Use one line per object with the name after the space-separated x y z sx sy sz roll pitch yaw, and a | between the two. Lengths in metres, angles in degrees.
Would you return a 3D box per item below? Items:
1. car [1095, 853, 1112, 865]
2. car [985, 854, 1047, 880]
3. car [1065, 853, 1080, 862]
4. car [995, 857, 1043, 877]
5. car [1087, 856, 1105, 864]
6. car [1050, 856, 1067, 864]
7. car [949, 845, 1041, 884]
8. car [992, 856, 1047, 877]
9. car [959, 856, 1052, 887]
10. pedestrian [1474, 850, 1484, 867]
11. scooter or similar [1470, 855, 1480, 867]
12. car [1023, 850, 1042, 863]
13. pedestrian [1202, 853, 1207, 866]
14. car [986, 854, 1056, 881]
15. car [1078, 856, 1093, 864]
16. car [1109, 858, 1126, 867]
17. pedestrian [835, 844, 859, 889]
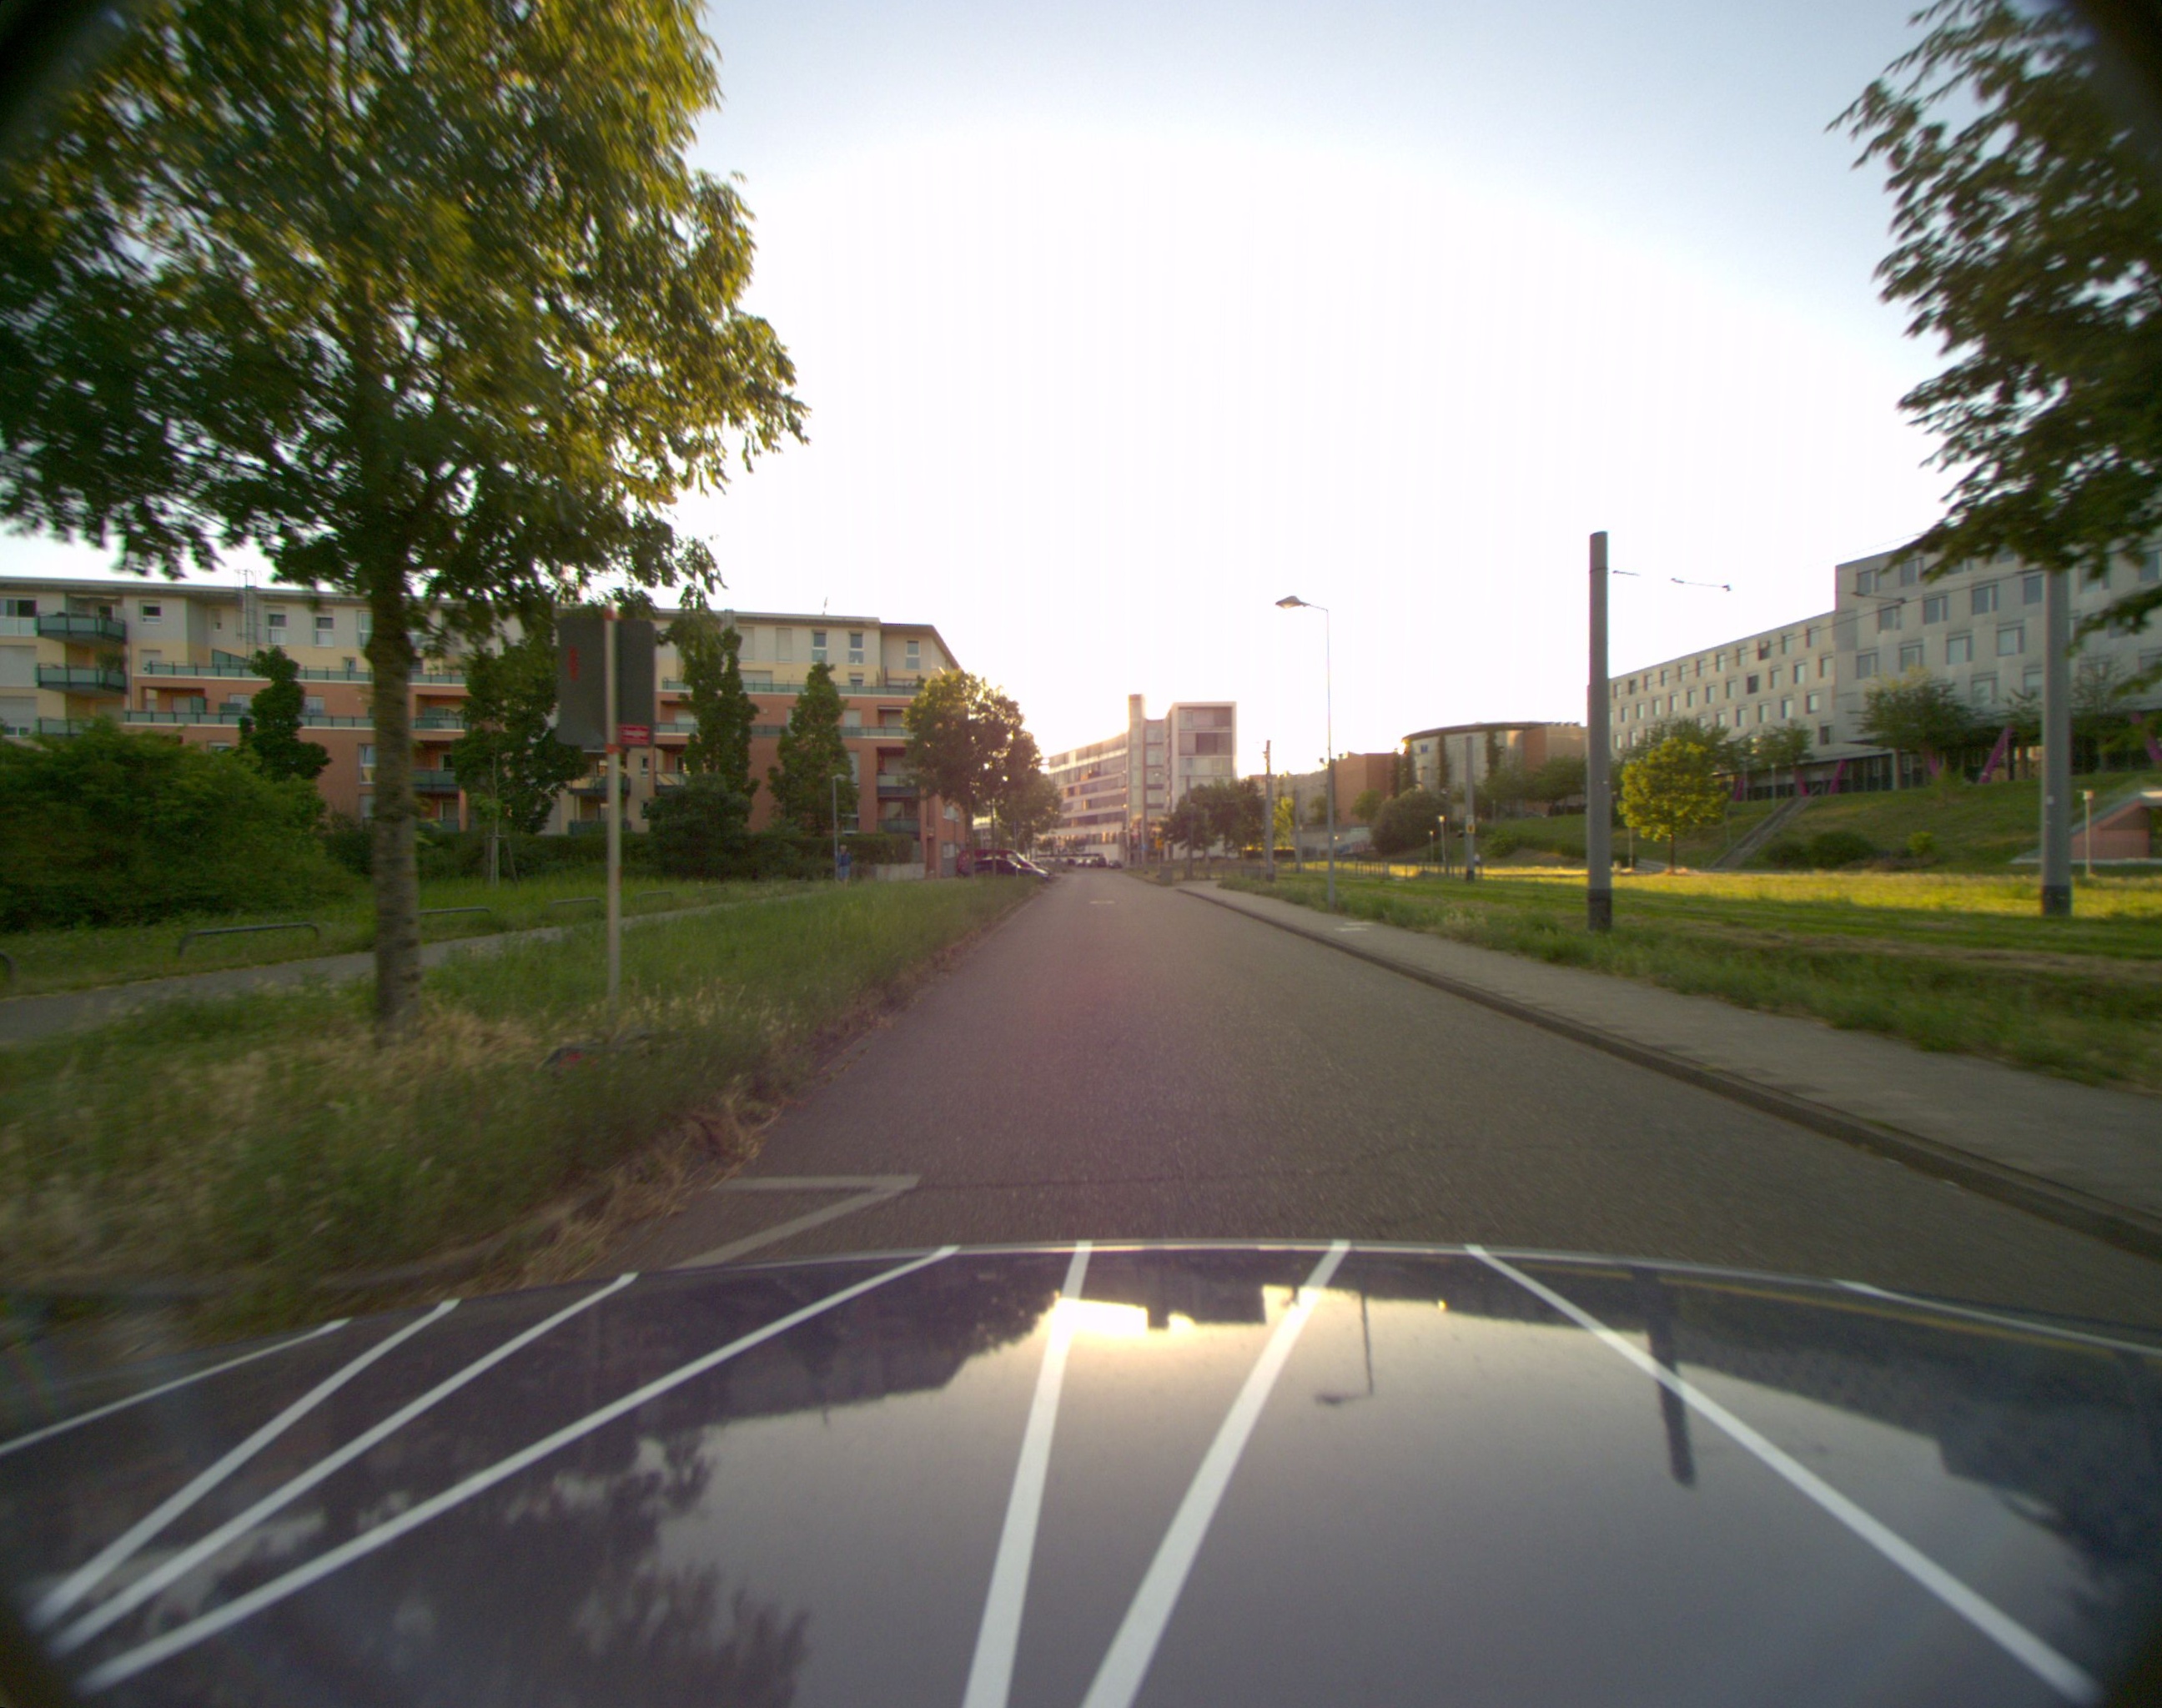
3.903 0.875 132.429 1.895 1.961 4.513 -3 0 -10 | car
-3.867 0.773 45.498 3.534 1.456 1.615 1 0 1 | car
-1.703 0.627 149.550 1.799 1.676 3.993 -1 0 -21 | car
-4.939 1.001 60.805 3.760 1.465 1.612 -1 1 -4 | car
2.653 1.066 137.213 1.867 1.468 4.514 -3 0 -16 | car
-4.594 1.162 156.123 1.800 1.542 3.991 -3 1 -27 | car
-4.812 0.581 43.077 4.931 2.105 2.017 -1 0 2 | car
-4.661 0.940 58.123 4.060 1.559 1.673 1 0 1 | car
-3.930 0.912 40.112 4.680 1.547 1.811 -1 0 1 | car
43.384 0.445 82.847 0.618 1.826 0.790 -3 1 -1 | pedestrian
43.398 0.786 83.771 0.618 1.237 0.790 -3 1 -1 | scooter or similar
-10.794 0.500 169.054 2.008 2.859 6.243 0 -1 -24 | car
17.756 0.734 108.848 0.450 1.826 0.483 -3 1 -20 | pedestrian
-3.770 0.850 47.950 4.226 1.560 1.792 1 0 1 | car
0.909 1.069 141.583 1.655 1.468 3.760 -1 0 -19 | car
5.833 1.325 121.188 1.858 1.433 4.225 -3 0 -9 | car
-8.994 0.477 29.181 0.670 1.733 0.699 -1 0 0 | pedestrian
